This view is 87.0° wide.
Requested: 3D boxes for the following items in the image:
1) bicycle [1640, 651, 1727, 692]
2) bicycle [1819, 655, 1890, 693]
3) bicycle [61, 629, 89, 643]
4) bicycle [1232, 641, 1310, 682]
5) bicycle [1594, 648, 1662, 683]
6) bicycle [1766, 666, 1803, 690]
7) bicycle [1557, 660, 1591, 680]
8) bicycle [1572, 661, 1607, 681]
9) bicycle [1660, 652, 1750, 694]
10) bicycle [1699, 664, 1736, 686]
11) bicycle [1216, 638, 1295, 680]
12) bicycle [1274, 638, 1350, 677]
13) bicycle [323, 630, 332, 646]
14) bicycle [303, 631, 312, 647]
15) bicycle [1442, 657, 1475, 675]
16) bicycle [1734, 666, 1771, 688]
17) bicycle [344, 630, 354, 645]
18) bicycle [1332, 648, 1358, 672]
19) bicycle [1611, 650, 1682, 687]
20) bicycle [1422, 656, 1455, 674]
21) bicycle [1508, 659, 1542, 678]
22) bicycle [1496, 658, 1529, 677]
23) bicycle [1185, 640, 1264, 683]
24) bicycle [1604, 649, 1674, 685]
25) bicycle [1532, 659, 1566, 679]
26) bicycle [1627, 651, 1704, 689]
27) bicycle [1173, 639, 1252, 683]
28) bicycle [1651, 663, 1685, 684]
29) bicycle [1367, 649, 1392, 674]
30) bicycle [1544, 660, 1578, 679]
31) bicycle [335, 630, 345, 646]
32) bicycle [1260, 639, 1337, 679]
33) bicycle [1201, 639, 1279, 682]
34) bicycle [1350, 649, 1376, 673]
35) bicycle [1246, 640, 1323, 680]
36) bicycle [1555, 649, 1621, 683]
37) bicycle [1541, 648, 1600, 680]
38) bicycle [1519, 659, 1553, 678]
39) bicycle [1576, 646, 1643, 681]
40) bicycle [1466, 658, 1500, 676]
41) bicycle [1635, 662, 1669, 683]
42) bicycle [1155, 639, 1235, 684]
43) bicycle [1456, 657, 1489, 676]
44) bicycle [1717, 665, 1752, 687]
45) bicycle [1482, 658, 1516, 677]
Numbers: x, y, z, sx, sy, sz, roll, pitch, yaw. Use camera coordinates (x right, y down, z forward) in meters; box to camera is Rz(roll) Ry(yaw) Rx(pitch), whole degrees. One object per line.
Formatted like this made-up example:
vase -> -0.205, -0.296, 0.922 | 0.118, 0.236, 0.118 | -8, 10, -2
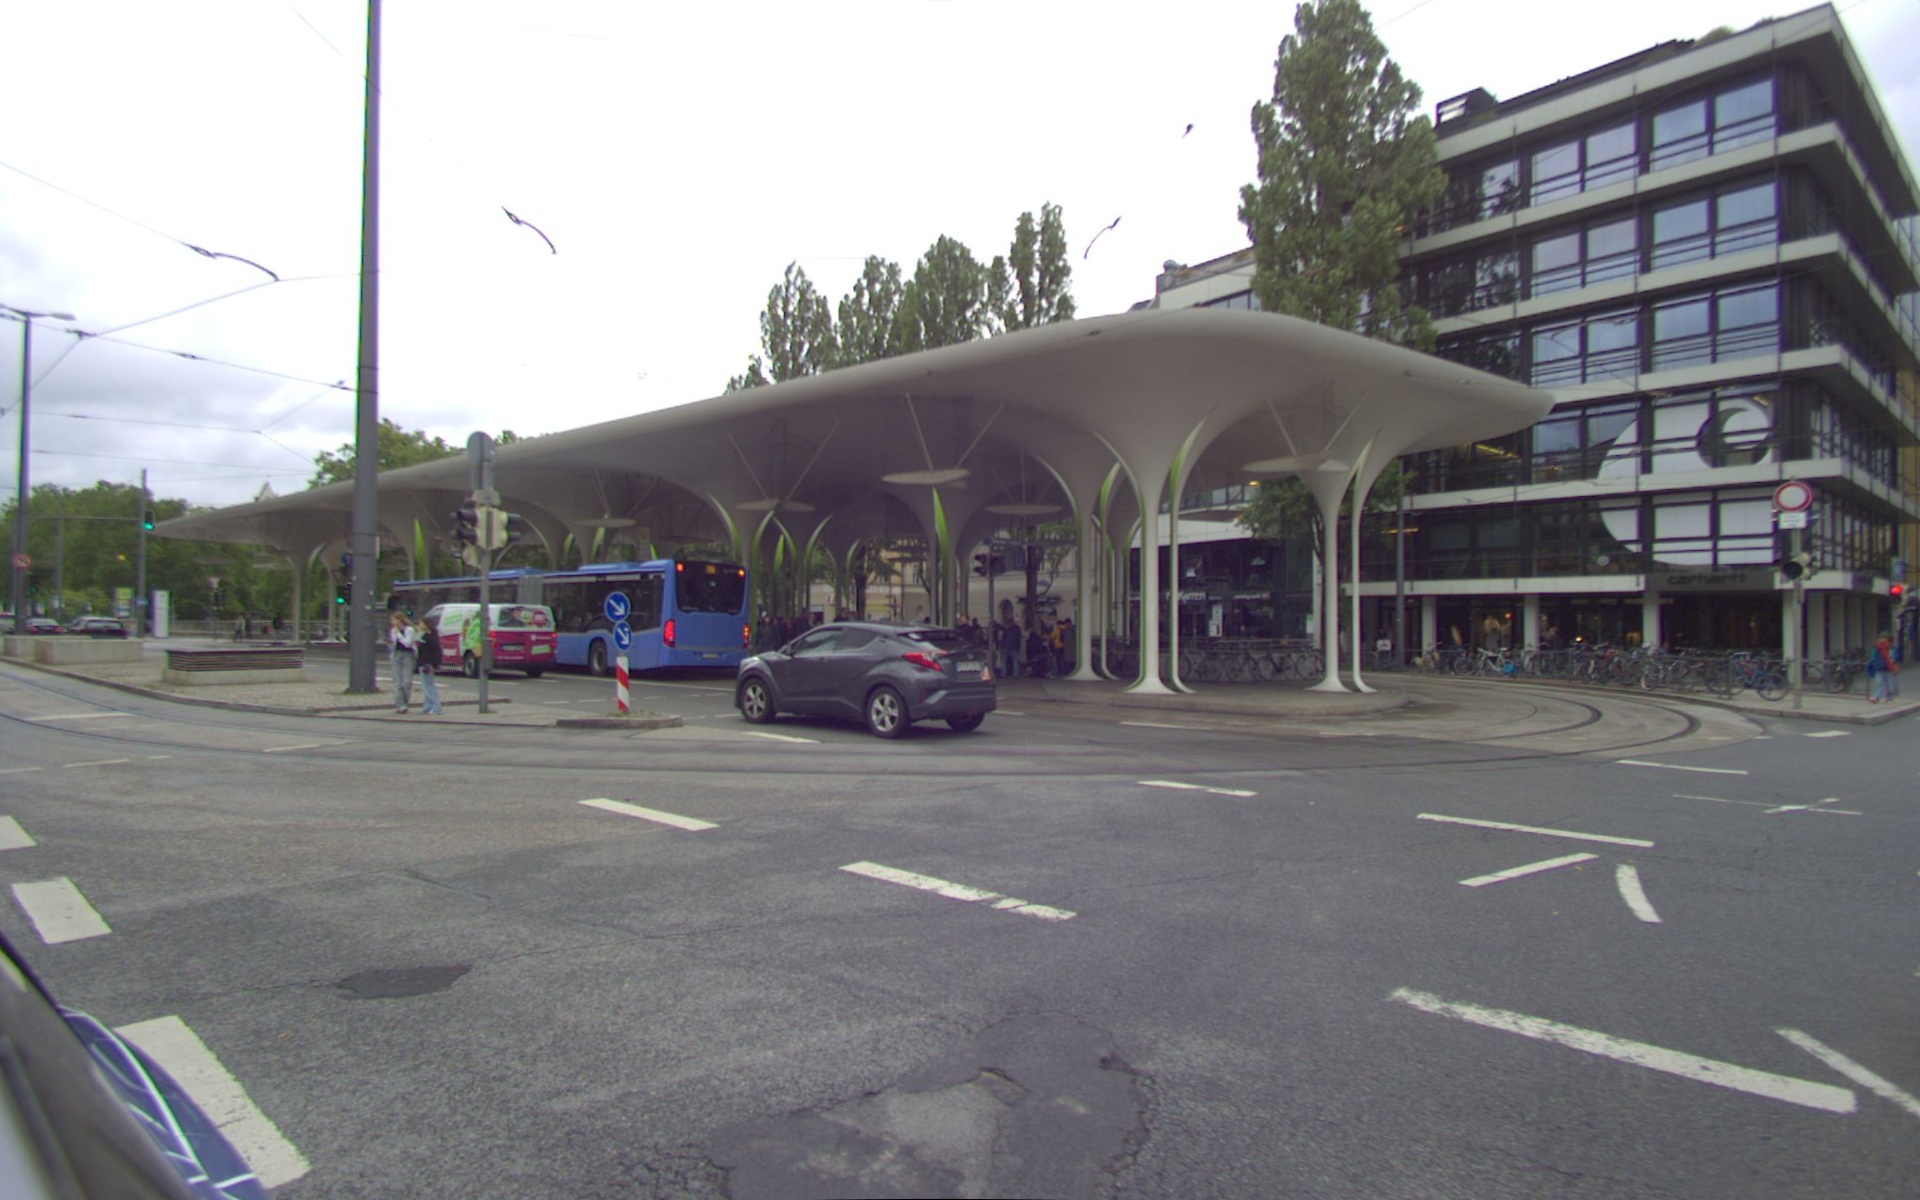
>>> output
bicycle -> 18.263, 1.804, 25.589 | 1.718, 0.946, 0.452 | 1, -1, 20
bicycle -> 25.475, 2.102, 28.841 | 1.611, 1.082, 0.429 | 0, -2, 0
bicycle -> -74.828, 3.014, 85.596 | 0.560, 1.181, 1.675 | -1, -2, 31
bicycle -> 9.073, 1.781, 29.597 | 0.645, 1.127, 2.186 | 1, -2, -39
bicycle -> 18.810, 1.836, 28.497 | 1.704, 0.946, 0.456 | 1, -1, -7
bicycle -> 24.799, 2.338, 30.435 | 1.607, 0.637, 0.430 | 1, -2, -34
bicycle -> 21.229, 2.413, 34.976 | 1.607, 0.637, 0.364 | 1, -2, -34
bicycle -> 21.513, 2.407, 34.578 | 1.607, 0.637, 0.364 | 1, -2, -34
bicycle -> 18.414, 1.802, 25.042 | 1.719, 0.946, 0.451 | 1, -1, 22
bicycle -> 23.789, 2.359, 31.790 | 1.607, 0.637, 0.430 | 1, -2, -34
bicycle -> 8.484, 1.678, 29.134 | 0.645, 1.127, 2.186 | 1, -2, -39
bicycle -> 10.690, 1.737, 30.804 | 0.645, 1.127, 2.186 | 1, -2, -39
bicycle -> -45.273, 2.723, 72.434 | 0.472, 1.104, 1.854 | 1, -2, -35
bicycle -> -46.200, 2.749, 71.652 | 0.472, 1.104, 1.854 | 1, -2, -35
bicycle -> 18.707, 2.466, 37.934 | 1.607, 0.637, 0.364 | 1, -2, -34
bicycle -> 24.308, 2.348, 31.034 | 1.607, 0.637, 0.430 | 1, -2, -34
bicycle -> -44.164, 2.694, 73.140 | 0.472, 1.104, 1.854 | 1, -2, -35
bicycle -> 15.917, 2.482, 41.819 | 0.449, 0.933, 1.804 | -1, -2, 38
bicycle -> 18.562, 1.845, 27.359 | 1.704, 0.946, 0.456 | 1, -1, -7
bicycle -> 18.247, 2.476, 38.548 | 1.607, 0.637, 0.364 | 1, -2, -34
bicycle -> 20.238, 2.433, 36.245 | 1.607, 0.637, 0.364 | 1, -2, -34
bicycle -> 19.962, 2.439, 36.549 | 1.607, 0.637, 0.364 | 1, -2, -34
bicycle -> 7.376, 1.708, 28.314 | 0.645, 1.127, 2.186 | 1, -2, -39
bicycle -> 18.746, 1.839, 27.955 | 1.704, 0.946, 0.456 | 1, -1, -7
bicycle -> 20.722, 2.423, 35.605 | 1.607, 0.637, 0.364 | 1, -2, -34
bicycle -> 18.605, 1.846, 26.706 | 1.707, 0.946, 0.455 | 1, -1, 1
bicycle -> 6.925, 1.668, 27.901 | 0.633, 1.133, 2.169 | 1, -2, -39
bicycle -> 22.983, 2.376, 32.847 | 1.607, 0.637, 0.364 | 1, -2, -34
bicycle -> 16.913, 2.460, 40.802 | 0.449, 0.933, 1.804 | -1, -2, 38
bicycle -> 20.930, 2.419, 35.261 | 1.607, 0.637, 0.364 | 1, -2, -34
bicycle -> -44.660, 2.707, 72.847 | 0.472, 1.104, 1.854 | 1, -2, -35
bicycle -> 10.132, 1.752, 30.381 | 0.645, 1.127, 2.186 | 1, -2, -39
bicycle -> 7.917, 1.694, 28.718 | 0.645, 1.127, 2.186 | 1, -2, -39
bicycle -> 16.410, 2.472, 41.186 | 0.449, 0.933, 1.804 | -1, -2, 38
bicycle -> 9.601, 1.767, 29.998 | 0.645, 1.127, 2.186 | 1, -2, -39
bicycle -> 18.416, 1.924, 29.678 | 1.705, 0.946, 0.455 | 1, -1, -5
bicycle -> 18.391, 1.923, 30.484 | 1.702, 0.946, 0.456 | 1, -1, -14
bicycle -> 20.453, 2.429, 35.940 | 1.607, 0.637, 0.364 | 1, -2, -34
bicycle -> 18.729, 1.836, 29.201 | 1.705, 0.946, 0.455 | 1, -1, -5
bicycle -> 19.253, 2.455, 37.248 | 1.607, 0.637, 0.364 | 1, -2, -34
bicycle -> 22.676, 2.382, 33.164 | 1.607, 0.637, 0.364 | 1, -2, -34
bicycle -> 6.364, 1.650, 27.512 | 0.633, 1.133, 2.169 | 1, -2, -39
bicycle -> 19.016, 2.460, 37.548 | 1.607, 0.637, 0.364 | 1, -2, -34
bicycle -> 24.044, 2.354, 31.426 | 1.607, 0.637, 0.364 | 1, -2, -34
bicycle -> 19.604, 2.447, 36.790 | 1.607, 0.637, 0.364 | 1, -2, -34
